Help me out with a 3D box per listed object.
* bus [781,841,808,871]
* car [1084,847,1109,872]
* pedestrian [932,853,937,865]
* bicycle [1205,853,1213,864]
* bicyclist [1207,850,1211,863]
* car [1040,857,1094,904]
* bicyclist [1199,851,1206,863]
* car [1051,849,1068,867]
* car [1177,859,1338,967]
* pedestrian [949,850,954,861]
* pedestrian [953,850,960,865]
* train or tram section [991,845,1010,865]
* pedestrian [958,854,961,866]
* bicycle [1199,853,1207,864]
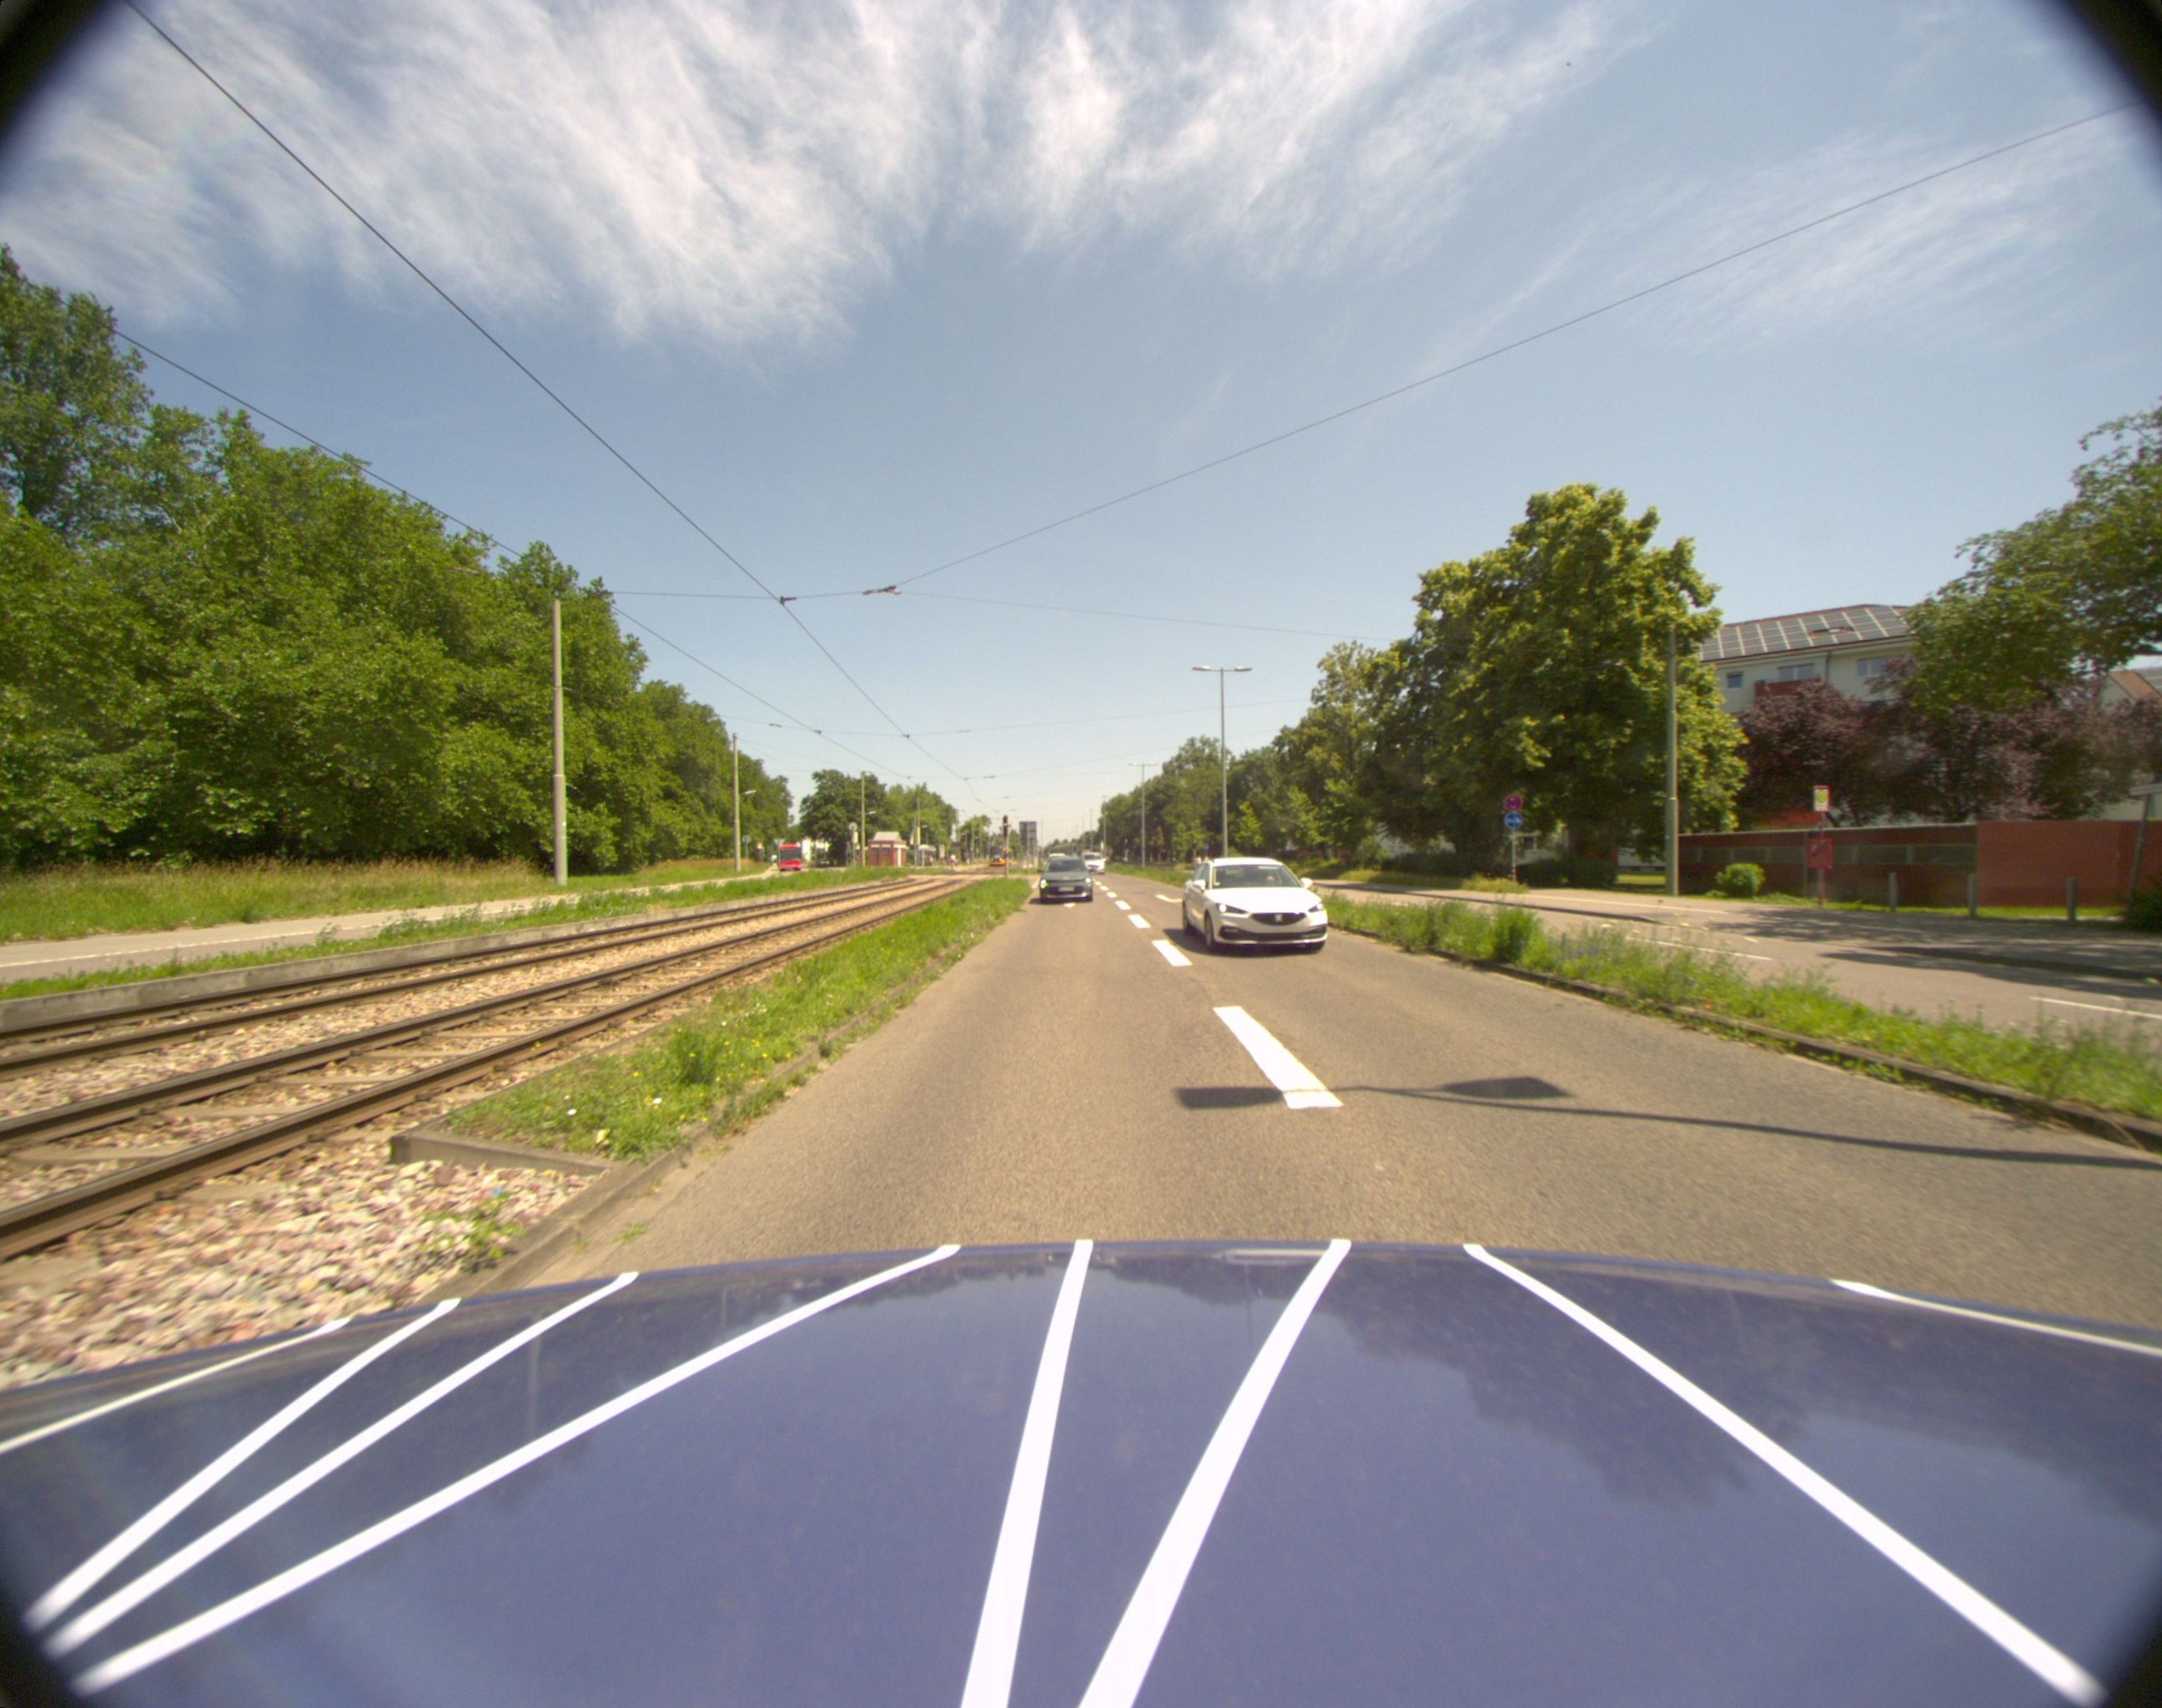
[{"bbox_3d":[-35.932,0.168,95.027,2.771,3.419,12.421,-2,1,-21],"label":"bus"},{"bbox_3d":[1.275,0.418,63.339,1.999,2.002,4.000,0,0,0],"label":"car"},{"bbox_3d":[-21.139,0.753,109.613,0.382,1.764,0.740,-2,1,1],"label":"pedestrian"},{"bbox_3d":[13.950,0.489,82.624,0.555,1.088,1.379,-2,1,-1],"label":"bicycle"},{"bbox_3d":[13.929,0.250,82.778,0.358,1.384,0.440,-2,0,0],"label":"bicyclist"},{"bbox_3d":[-0.468,0.885,27.187,1.788,1.554,4.135,0,0,0],"label":"car"},{"bbox_3d":[13.250,0.325,82.889,0.546,1.338,0.755,0,0,-3],"label":"bicyclist"},{"bbox_3d":[-2.469,0.400,86.611,1.922,2.002,3.999,0,0,-3],"label":"car"},{"bbox_3d":[2.783,0.855,12.920,1.772,1.460,4.111,-2,0,0],"label":"car"},{"bbox_3d":[-19.254,0.215,112.967,0.707,1.754,0.657,0,0,0],"label":"pedestrian"},{"bbox_3d":[-14.015,0.392,85.438,0.637,1.749,0.815,-2,1,-16],"label":"pedestrian"},{"bbox_3d":[-13.802,0.142,130.723,2.525,3.303,7.259,0,0,-1],"label":"train or tram section"},{"bbox_3d":[-16.840,0.798,105.282,0.361,1.636,0.445,0,0,1],"label":"pedestrian"},{"bbox_3d":[13.263,0.481,82.411,0.590,1.126,1.615,0,0,-2],"label":"bicycle"}]
